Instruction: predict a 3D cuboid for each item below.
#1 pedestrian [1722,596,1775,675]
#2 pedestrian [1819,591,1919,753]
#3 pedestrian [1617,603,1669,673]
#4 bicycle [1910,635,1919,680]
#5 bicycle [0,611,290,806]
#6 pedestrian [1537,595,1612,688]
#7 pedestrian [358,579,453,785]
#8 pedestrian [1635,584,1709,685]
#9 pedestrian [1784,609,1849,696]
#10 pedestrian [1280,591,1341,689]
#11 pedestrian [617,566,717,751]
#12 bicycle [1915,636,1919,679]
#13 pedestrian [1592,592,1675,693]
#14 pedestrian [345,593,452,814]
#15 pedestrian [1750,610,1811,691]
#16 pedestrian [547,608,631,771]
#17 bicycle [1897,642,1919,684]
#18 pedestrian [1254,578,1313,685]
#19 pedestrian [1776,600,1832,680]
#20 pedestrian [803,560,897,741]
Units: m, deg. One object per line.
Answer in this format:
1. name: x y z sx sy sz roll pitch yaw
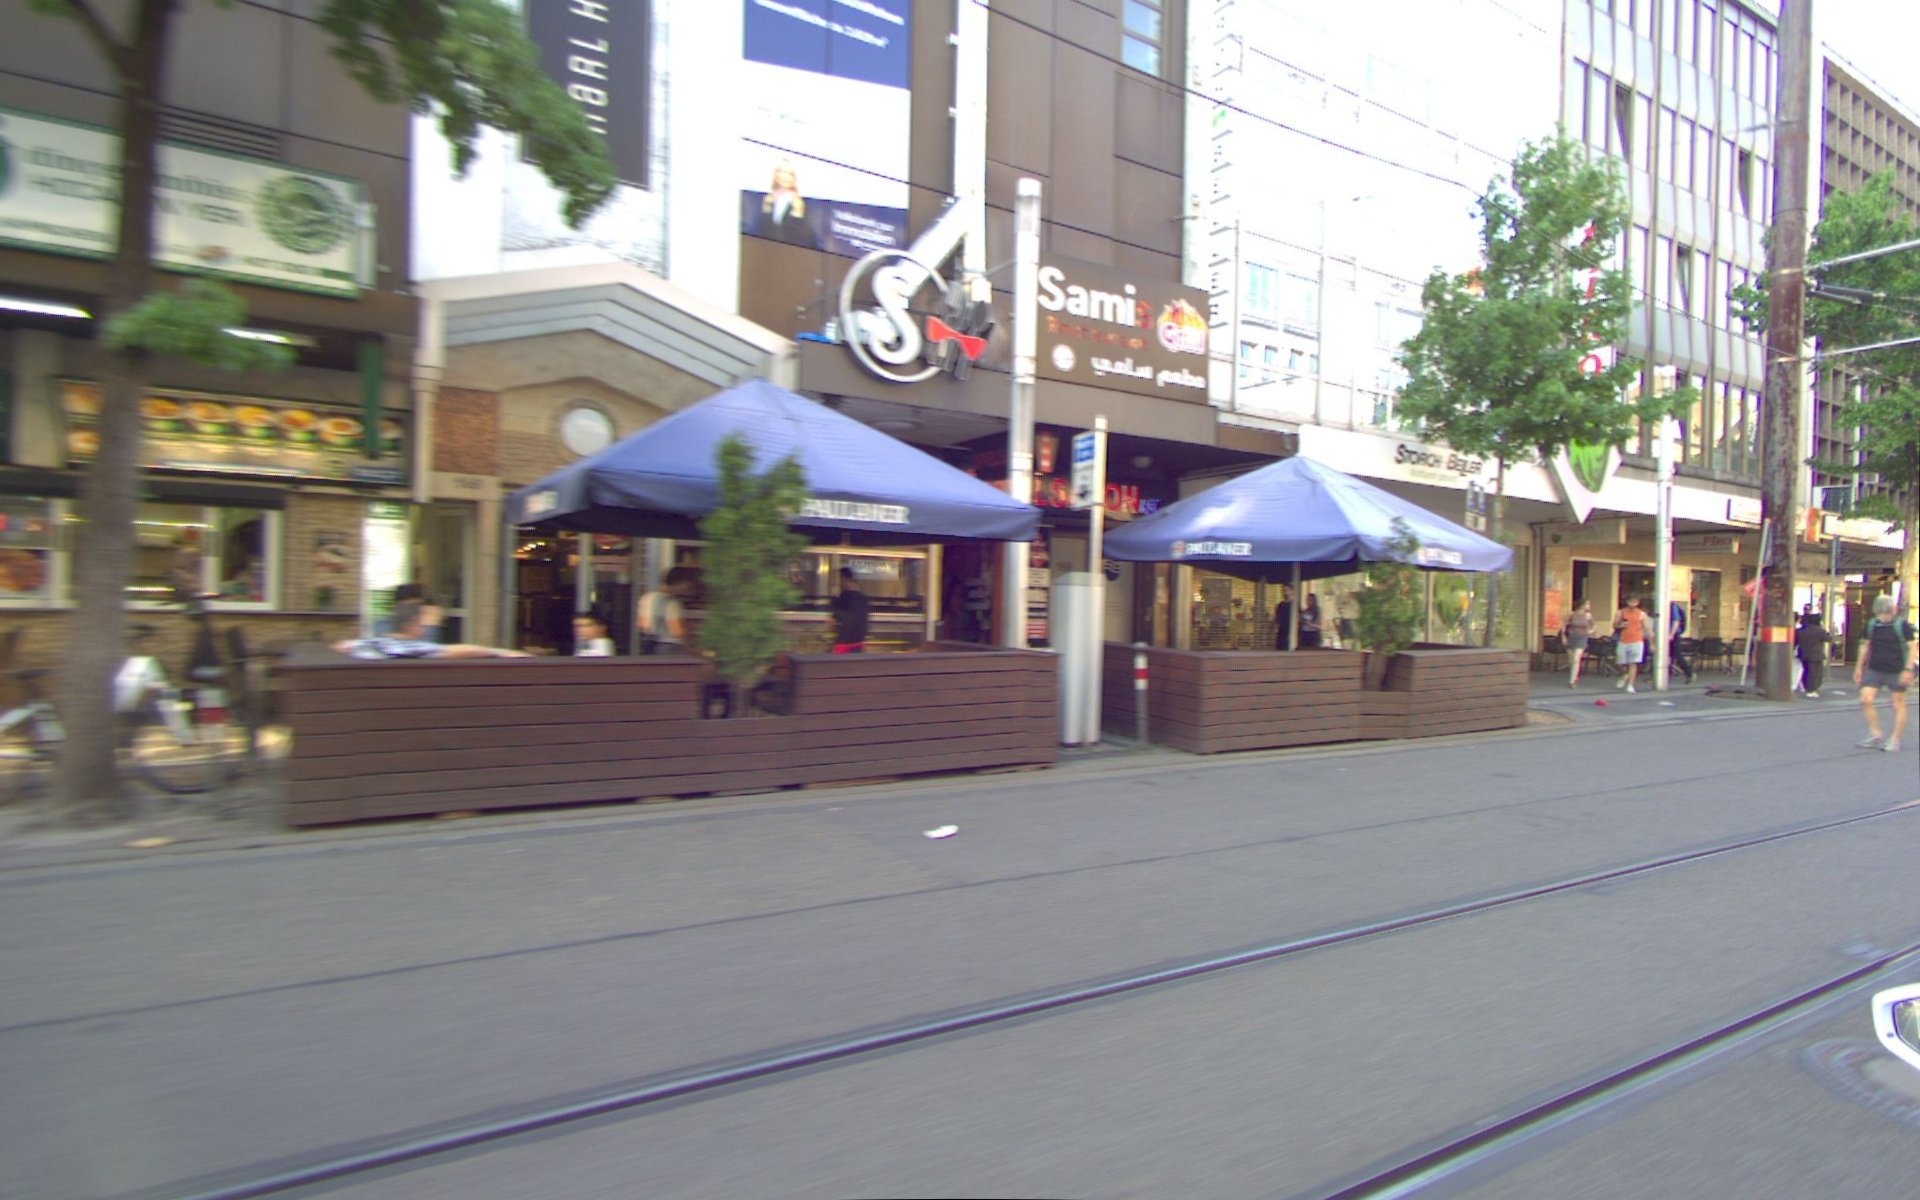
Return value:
1. pedestrian: 18.827 0.839 23.985 0.922 1.828 0.619 1 2 -30
2. pedestrian: 11.027 0.830 12.027 0.781 1.825 0.837 1 2 -30
3. pedestrian: 15.671 0.869 23.043 0.800 1.546 0.619 1 2 -30
4. bicycle: 24.268 1.459 24.324 0.373 1.092 1.777 1 1 -34
5. bicycle: -5.800 0.676 6.738 0.689 1.136 2.075 5 3 41
6. pedestrian: 11.404 0.757 18.676 0.748 1.660 0.850 2 2 -11
7. pedestrian: -4.127 0.582 7.469 0.576 1.448 0.546 1 1 -31
8. pedestrian: 14.368 0.682 20.260 1.060 1.949 0.795 1 3 -34
9. pedestrian: 16.209 0.982 19.018 0.842 1.571 0.619 1 2 -30
10. pedestrian: 5.755 0.643 16.503 0.663 1.553 0.594 1 2 -30
11. pedestrian: -2.726 0.513 9.325 0.711 1.629 0.669 1 1 -31
12. bicycle: 24.640 1.472 24.585 0.373 1.092 1.777 1 1 -34
13. pedestrian: 12.282 0.762 18.336 0.820 1.764 0.850 2 2 -11
14. pedestrian: -3.726 0.653 6.668 0.576 1.374 0.546 1 1 -31
15. pedestrian: 16.161 0.989 19.786 0.823 1.529 0.619 1 2 -30
16. pedestrian: -2.986 0.695 8.084 0.529 1.244 0.492 1 1 -31
17. bicycle: 22.151 1.462 22.558 0.372 0.943 1.591 1 1 -23
18. pedestrian: 5.471 0.521 17.013 0.663 1.769 0.594 1 2 -30
19. pedestrian: 19.392 0.908 23.083 0.922 1.771 0.619 1 2 -30
20. pedestrian: -1.117 0.482 10.126 0.668 1.748 0.713 1 1 -32
